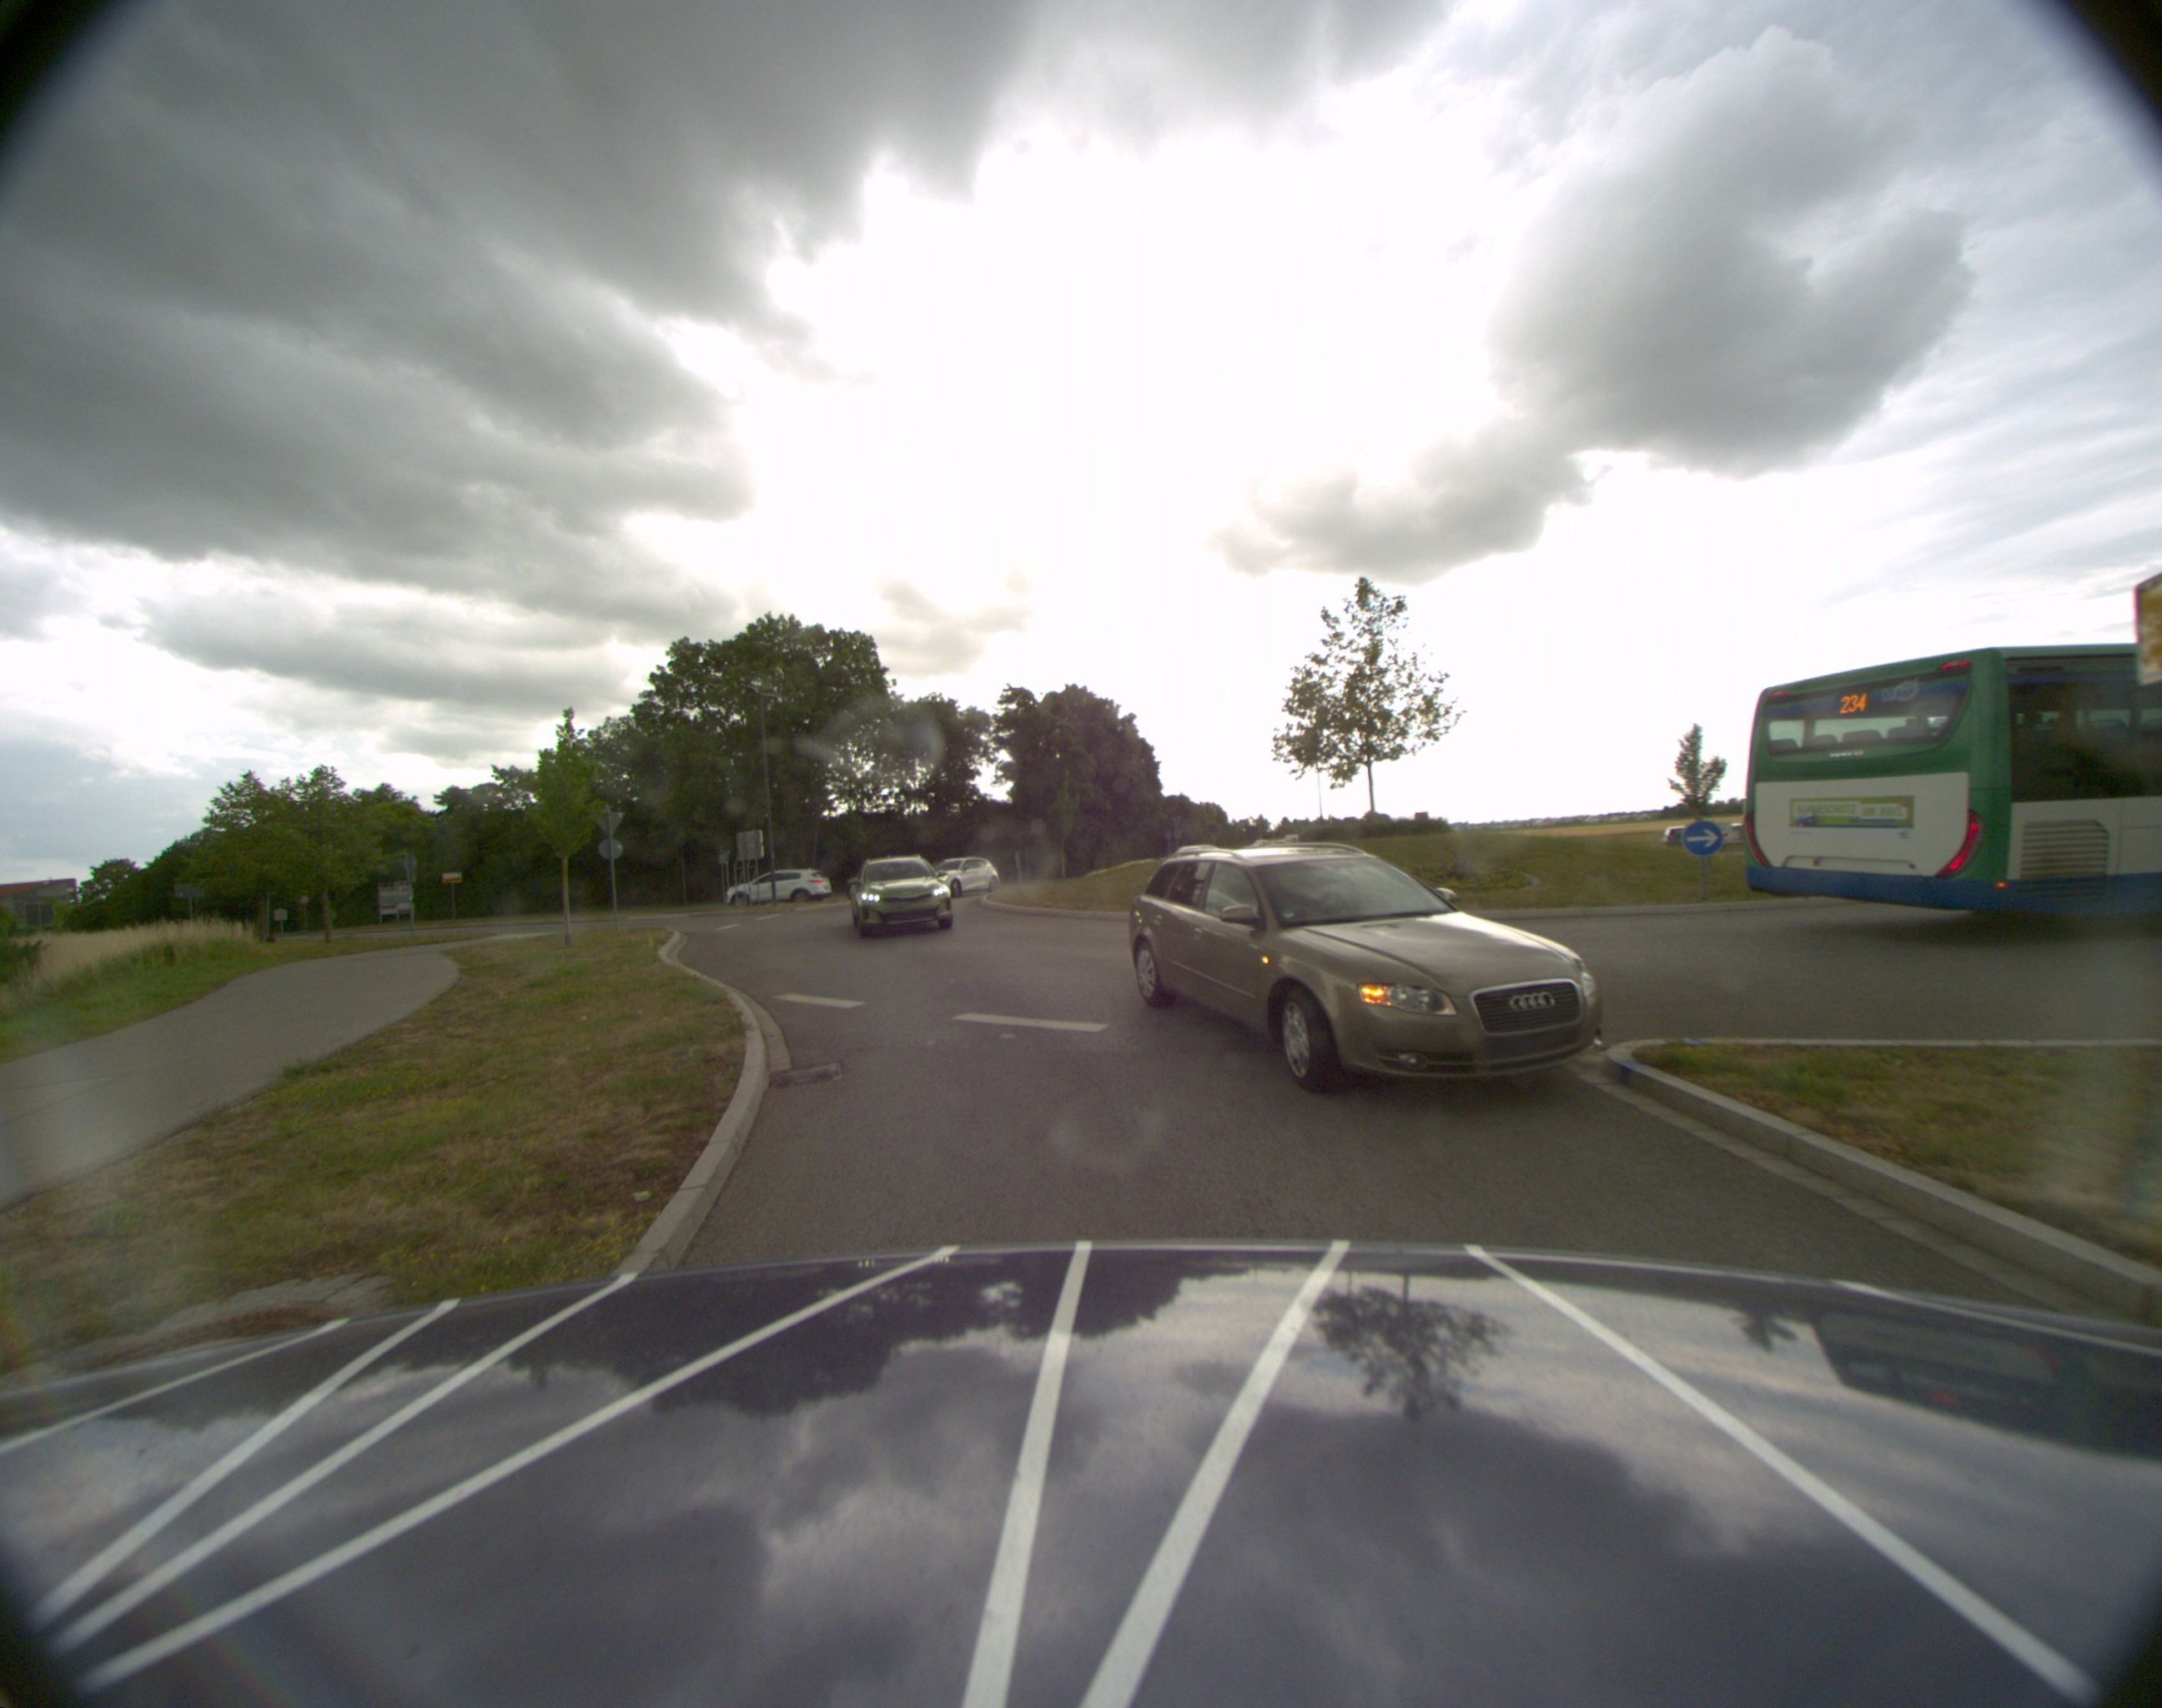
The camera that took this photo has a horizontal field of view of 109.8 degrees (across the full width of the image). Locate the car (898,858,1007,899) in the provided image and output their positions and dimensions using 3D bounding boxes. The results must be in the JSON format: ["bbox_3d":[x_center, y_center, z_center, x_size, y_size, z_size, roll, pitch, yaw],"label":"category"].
[{"bbox_3d":[-4.584,0.860,27.813,1.922,1.318,4.281,-3,-2,22],"label":"car"}]

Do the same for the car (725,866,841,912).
[{"bbox_3d":[-13.182,1.520,33.806,4.270,1.592,1.926,-5,1,3],"label":"car"}]

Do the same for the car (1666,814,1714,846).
[{"bbox_3d":[37.319,-1.486,46.531,4.006,1.544,1.712,-7,1,-44],"label":"car"}]

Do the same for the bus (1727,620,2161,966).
[{"bbox_3d":[11.107,-0.671,8.612,5.457,3.240,2.524,-2,1,-2],"label":"bus"}]

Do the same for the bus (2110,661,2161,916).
[{"bbox_3d":[17.041,-0.952,9.038,6.546,3.240,2.524,-2,1,-3],"label":"bus"}]

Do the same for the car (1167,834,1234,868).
[{"bbox_3d":[6.507,-0.198,41.083,1.777,1.532,4.007,-3,1,37],"label":"car"}]

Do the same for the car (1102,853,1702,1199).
[{"bbox_3d":[1.715,0.799,5.865,1.784,1.456,4.535,-4,1,-15],"label":"car"}]

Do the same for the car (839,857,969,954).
[{"bbox_3d":[-3.891,0.925,16.034,1.928,1.494,4.872,-5,2,-21],"label":"car"}]
